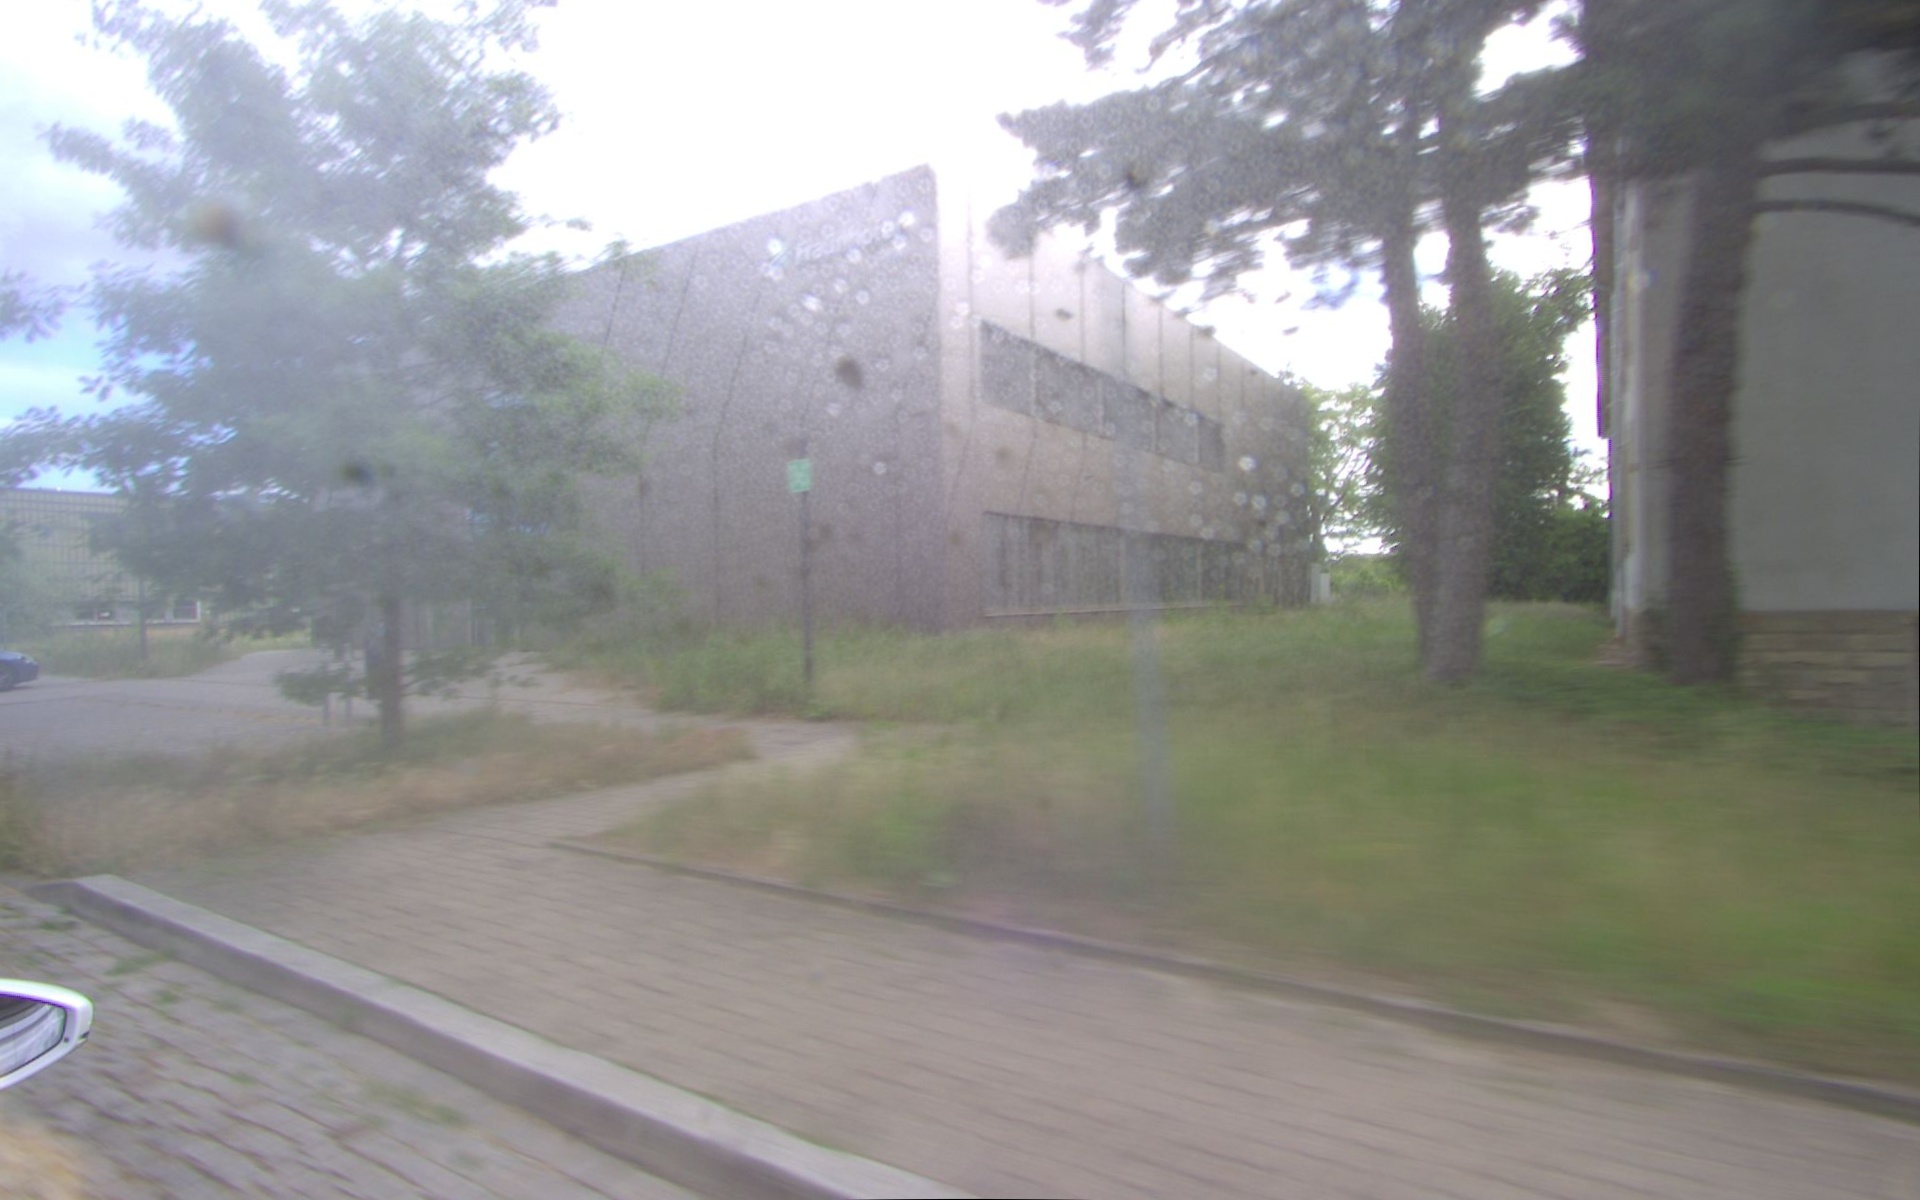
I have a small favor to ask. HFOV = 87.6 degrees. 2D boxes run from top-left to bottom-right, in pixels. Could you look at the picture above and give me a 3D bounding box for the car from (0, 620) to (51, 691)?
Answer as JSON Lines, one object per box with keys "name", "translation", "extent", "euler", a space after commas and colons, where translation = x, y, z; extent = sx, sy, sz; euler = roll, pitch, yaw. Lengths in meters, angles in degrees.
{"name": "car", "translation": [-22.319, 1.295, 20.951], "extent": [1.906, 1.482, 4.471], "euler": [-1, 2, 31]}
